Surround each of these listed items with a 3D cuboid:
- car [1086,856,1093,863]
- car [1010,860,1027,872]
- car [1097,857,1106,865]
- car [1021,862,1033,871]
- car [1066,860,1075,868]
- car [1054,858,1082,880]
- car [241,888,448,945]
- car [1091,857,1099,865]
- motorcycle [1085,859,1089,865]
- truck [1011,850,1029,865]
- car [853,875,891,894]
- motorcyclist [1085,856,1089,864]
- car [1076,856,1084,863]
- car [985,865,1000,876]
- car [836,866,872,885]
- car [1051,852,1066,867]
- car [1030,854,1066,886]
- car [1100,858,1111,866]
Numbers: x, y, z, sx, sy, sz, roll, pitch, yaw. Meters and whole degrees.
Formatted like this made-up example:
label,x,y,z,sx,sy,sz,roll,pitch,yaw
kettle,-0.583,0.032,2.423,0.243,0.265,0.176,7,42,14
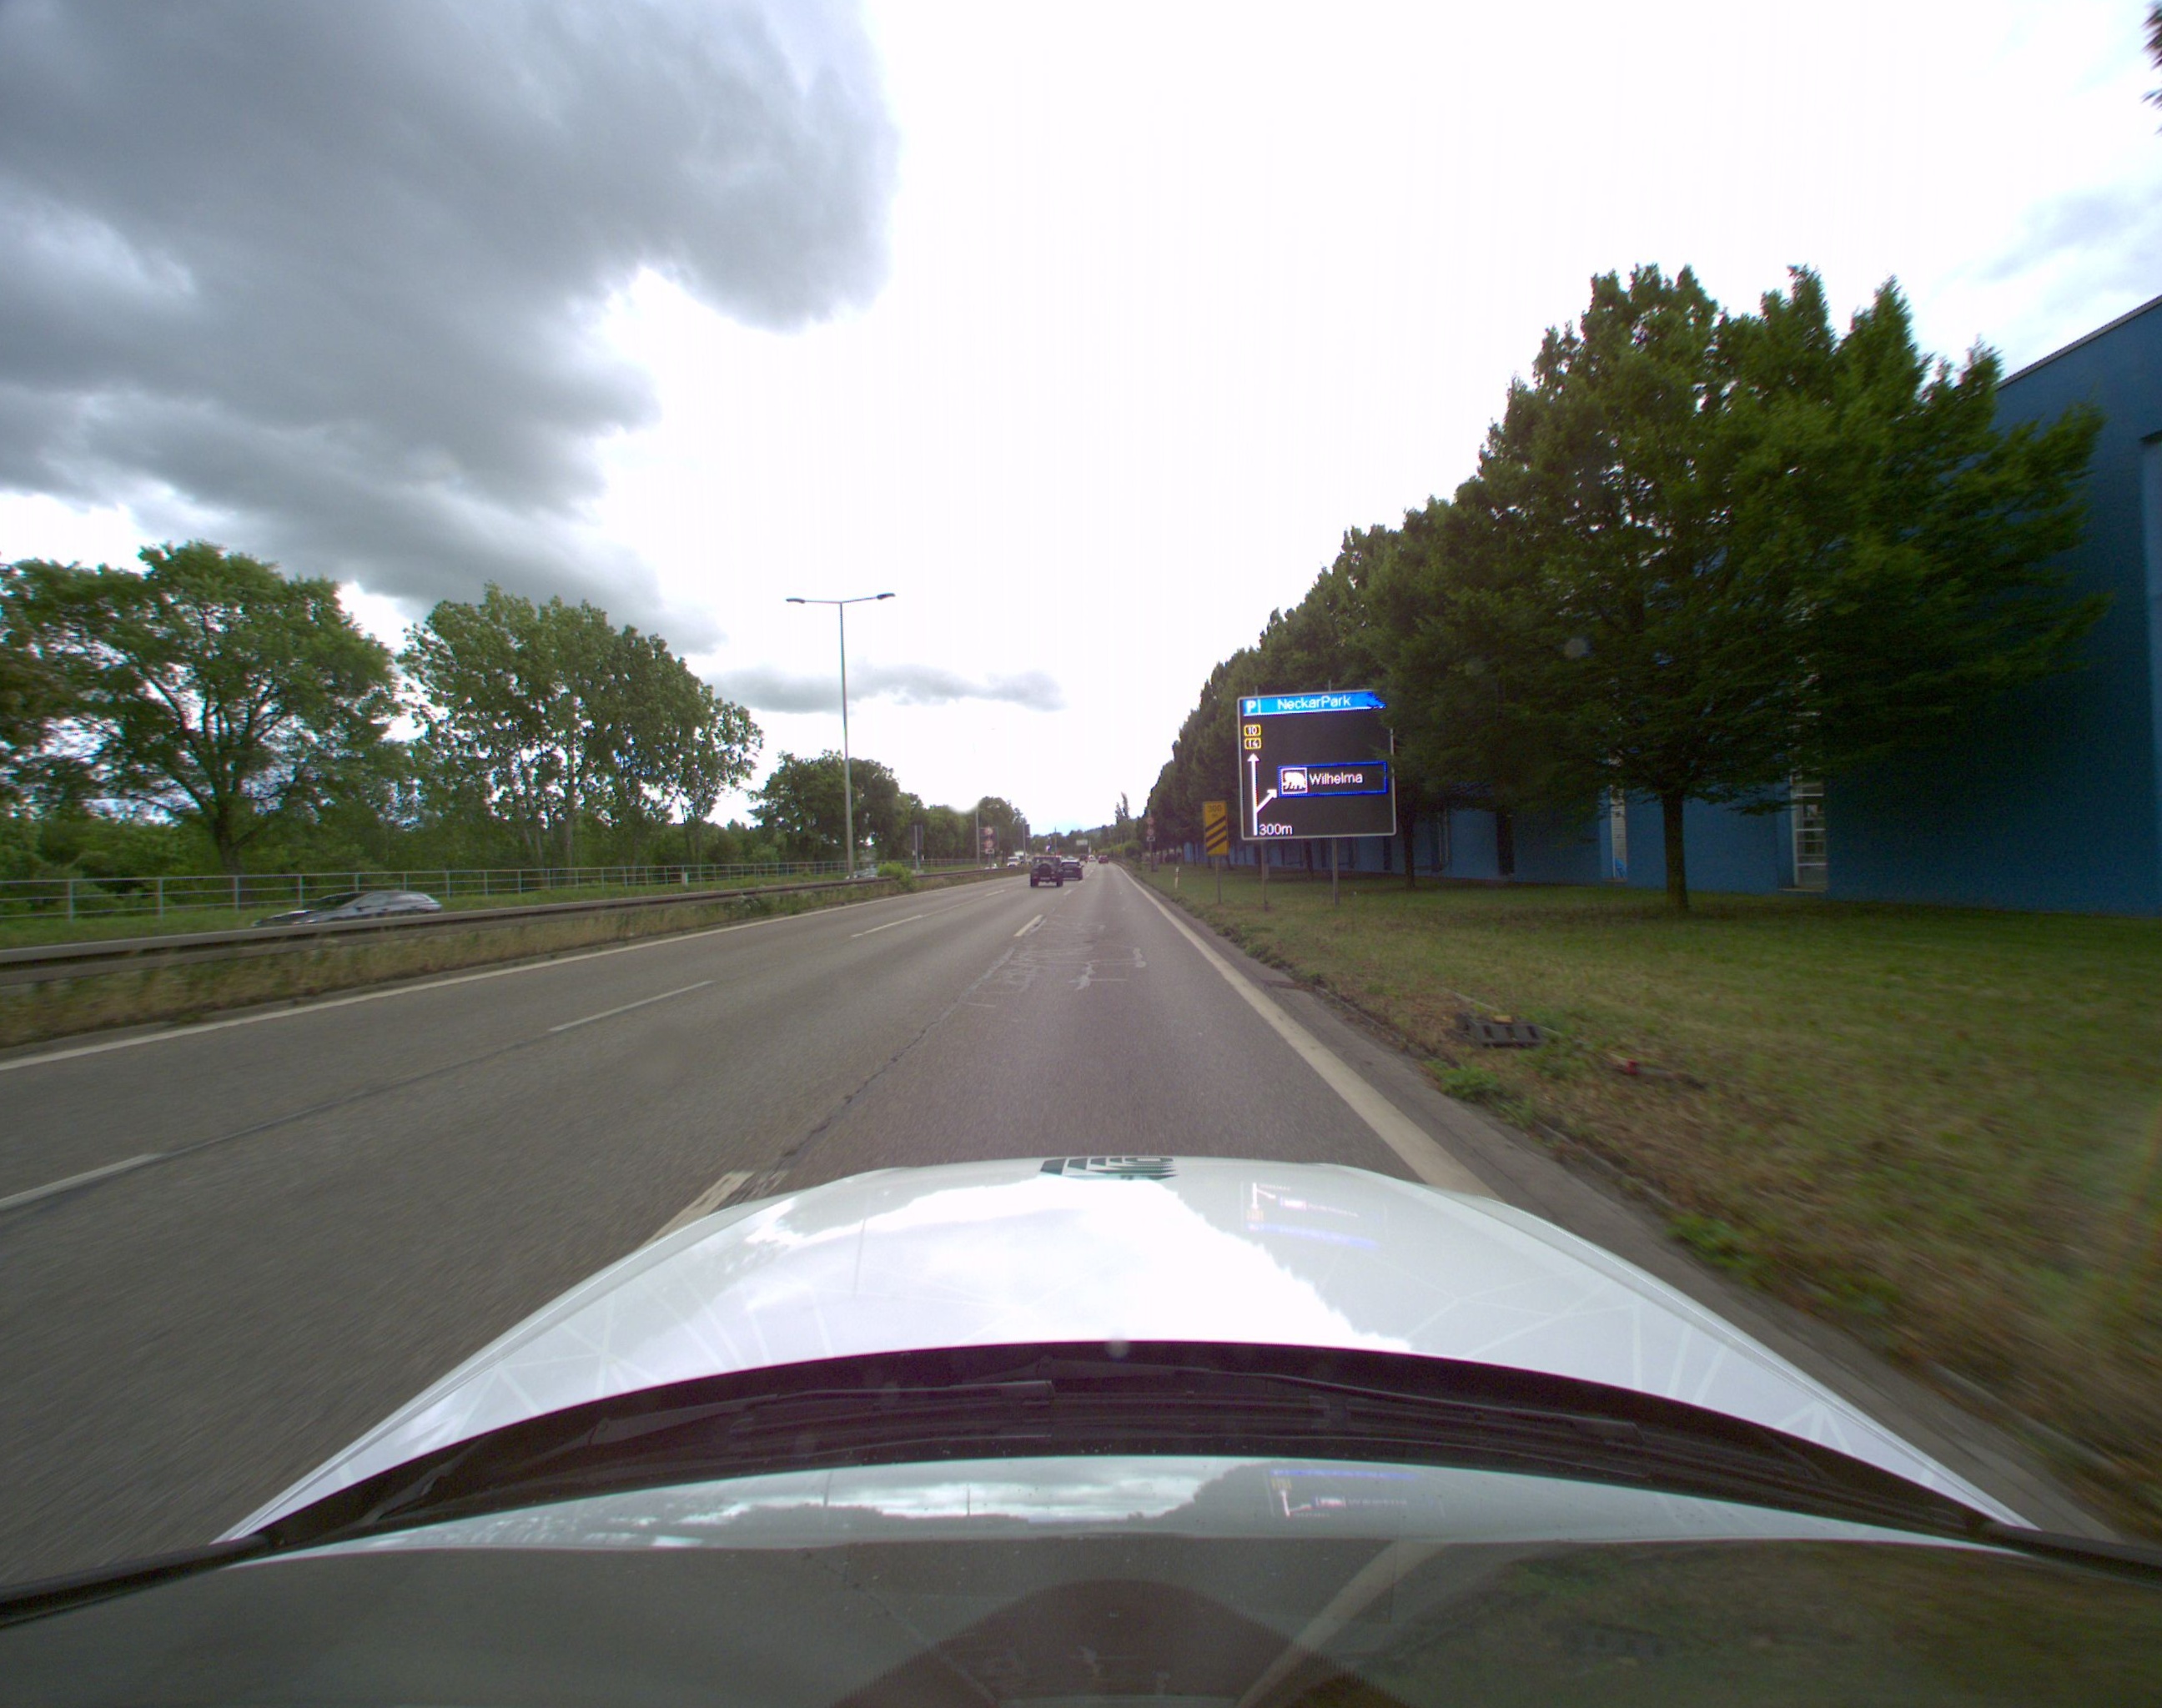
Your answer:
label,x,y,z,sx,sy,sz,roll,pitch,yaw
car,2.610,1.564,247.055,2.005,1.934,4.905,-3,-1,4
car,-11.108,2.090,145.925,2.216,1.948,5.479,-2,-1,4
car,4.491,1.552,175.780,1.691,1.742,4.395,-3,-1,2
car,-11.310,2.563,170.040,1.870,1.725,4.151,-2,0,4
car,-2.309,2.156,181.186,1.691,1.742,4.396,-3,-1,3
car,-0.896,1.051,59.175,1.839,1.423,4.900,-3,-1,1
car,-21.433,1.764,24.035,1.654,1.299,4.788,-2,0,1
car,3.652,1.765,208.844,2.006,1.934,4.900,-3,-1,1
motorcycle,1.402,1.818,178.776,0.788,1.219,2.331,-2,0,2
truck,-15.112,0.968,202.693,2.876,3.579,9.596,-3,-1,4
car,-16.164,2.331,63.261,1.654,1.299,4.788,-2,0,1
motorcyclist,1.393,1.360,178.778,0.788,1.760,0.923,-2,0,2
car,-0.197,1.474,224.383,2.006,1.934,4.900,-3,-1,1
car,-12.795,2.372,118.083,1.653,1.398,3.990,-2,0,2
car,-19.968,1.900,71.886,1.871,1.490,4.203,-2,0,2
car,-2.697,0.653,99.510,1.692,1.742,4.000,-1,0,1
car,-1.802,0.855,45.114,1.691,1.686,4.002,0,0,2
car,4.614,1.533,154.600,1.968,1.423,4.900,-3,-1,1
